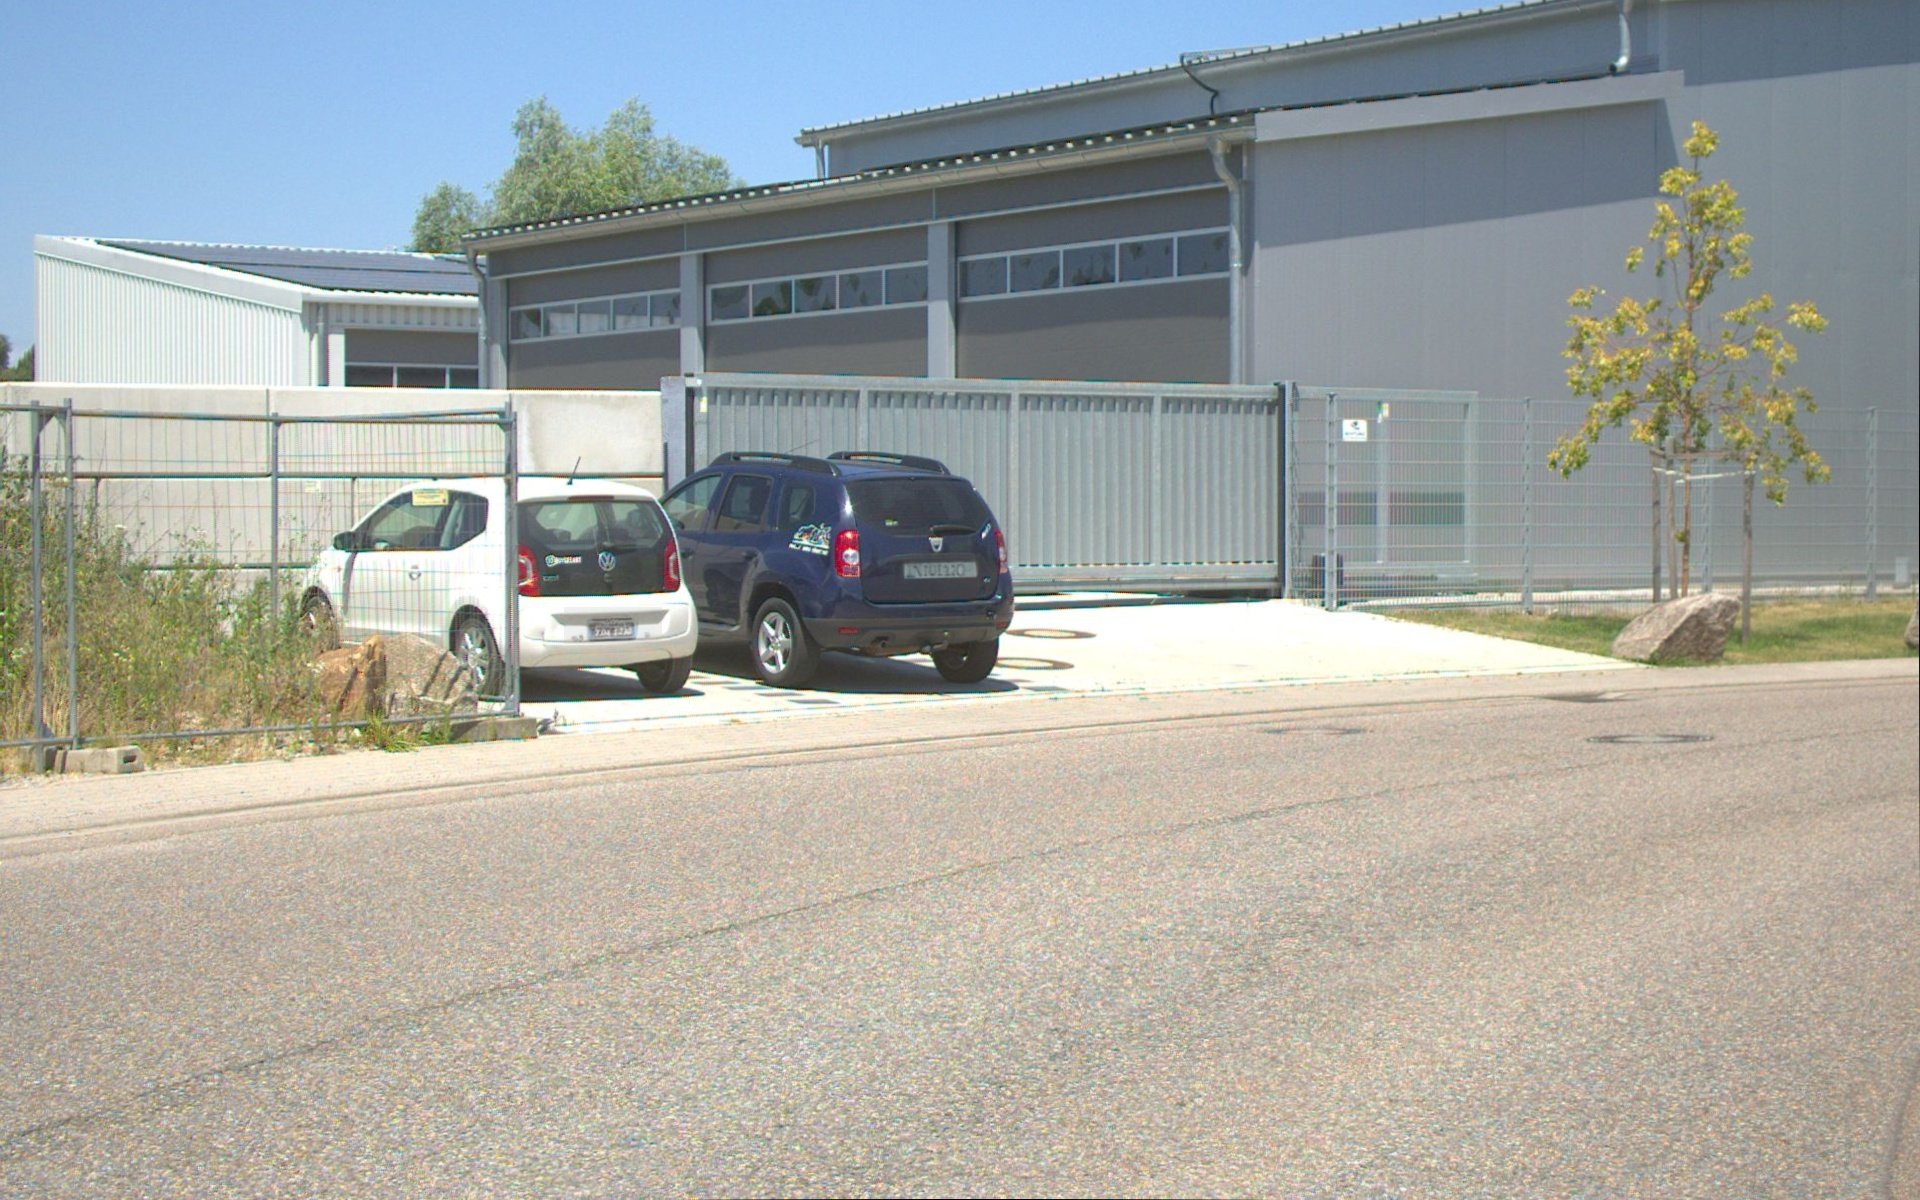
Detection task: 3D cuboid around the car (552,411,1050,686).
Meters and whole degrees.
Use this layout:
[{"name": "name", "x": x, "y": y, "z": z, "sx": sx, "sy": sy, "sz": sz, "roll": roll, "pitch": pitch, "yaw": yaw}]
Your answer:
[{"name": "car", "x": -1.301, "y": -0.457, "z": 26.085, "sx": 1.776, "sy": 1.653, "sz": 4.177, "roll": -1, "pitch": 7, "yaw": -34}]

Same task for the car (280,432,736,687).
[{"name": "car", "x": -3.289, "y": -0.341, "z": 24.537, "sx": 1.776, "sy": 1.456, "sz": 3.372, "roll": -1, "pitch": 7, "yaw": -36}]
